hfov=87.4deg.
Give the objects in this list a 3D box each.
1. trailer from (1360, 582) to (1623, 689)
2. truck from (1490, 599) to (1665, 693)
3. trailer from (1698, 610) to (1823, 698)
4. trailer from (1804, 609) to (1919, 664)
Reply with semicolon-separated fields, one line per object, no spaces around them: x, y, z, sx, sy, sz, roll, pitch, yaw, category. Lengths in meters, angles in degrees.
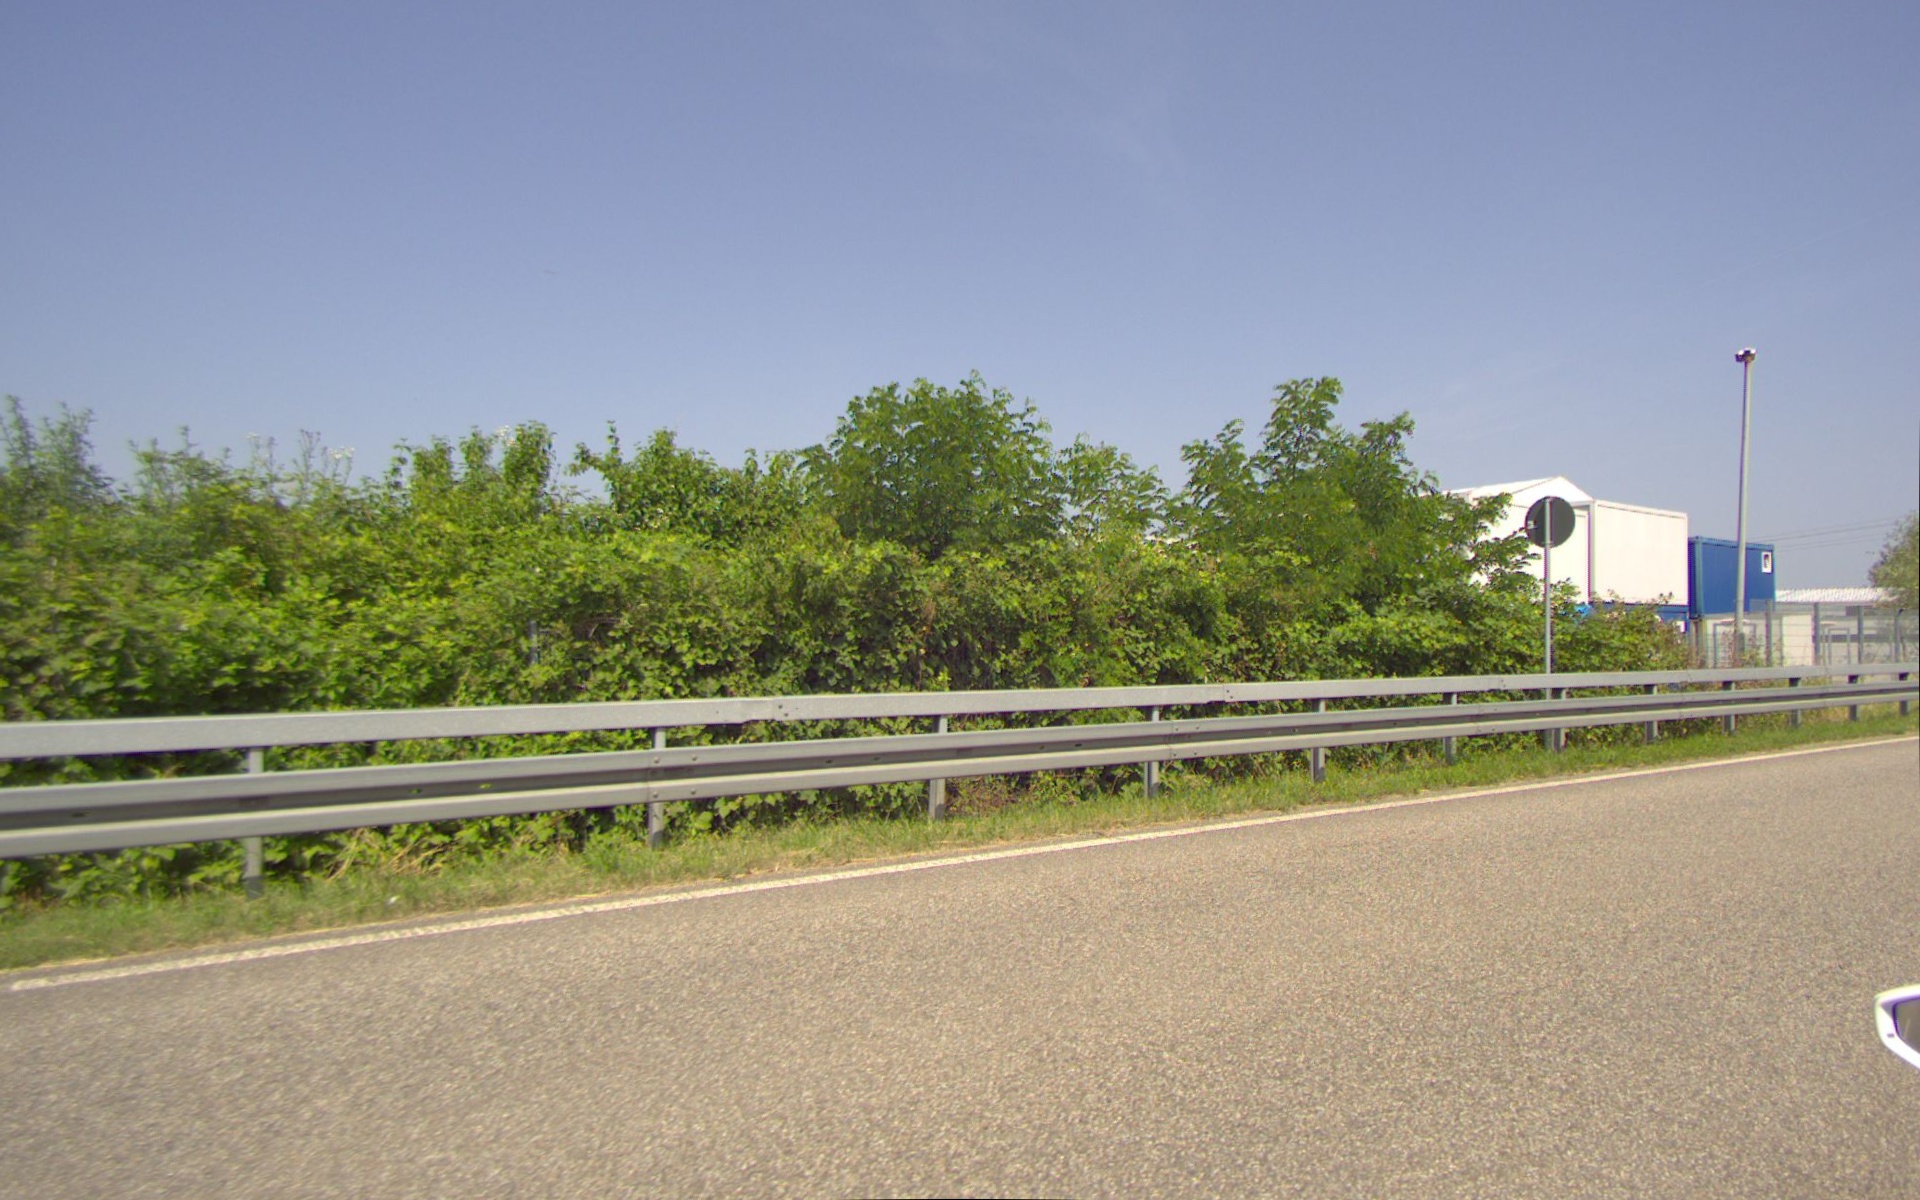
11.750;0.728;21.921;6.905;2.030;2.187;1;0;-35;trailer
14.868;1.046;24.145;3.960;2.030;2.188;1;0;-35;truck
24.447;1.582;30.664;3.884;2.470;1.980;1;0;-36;trailer
34.067;1.311;35.978;2.514;1.873;5.360;1;0;-30;trailer
